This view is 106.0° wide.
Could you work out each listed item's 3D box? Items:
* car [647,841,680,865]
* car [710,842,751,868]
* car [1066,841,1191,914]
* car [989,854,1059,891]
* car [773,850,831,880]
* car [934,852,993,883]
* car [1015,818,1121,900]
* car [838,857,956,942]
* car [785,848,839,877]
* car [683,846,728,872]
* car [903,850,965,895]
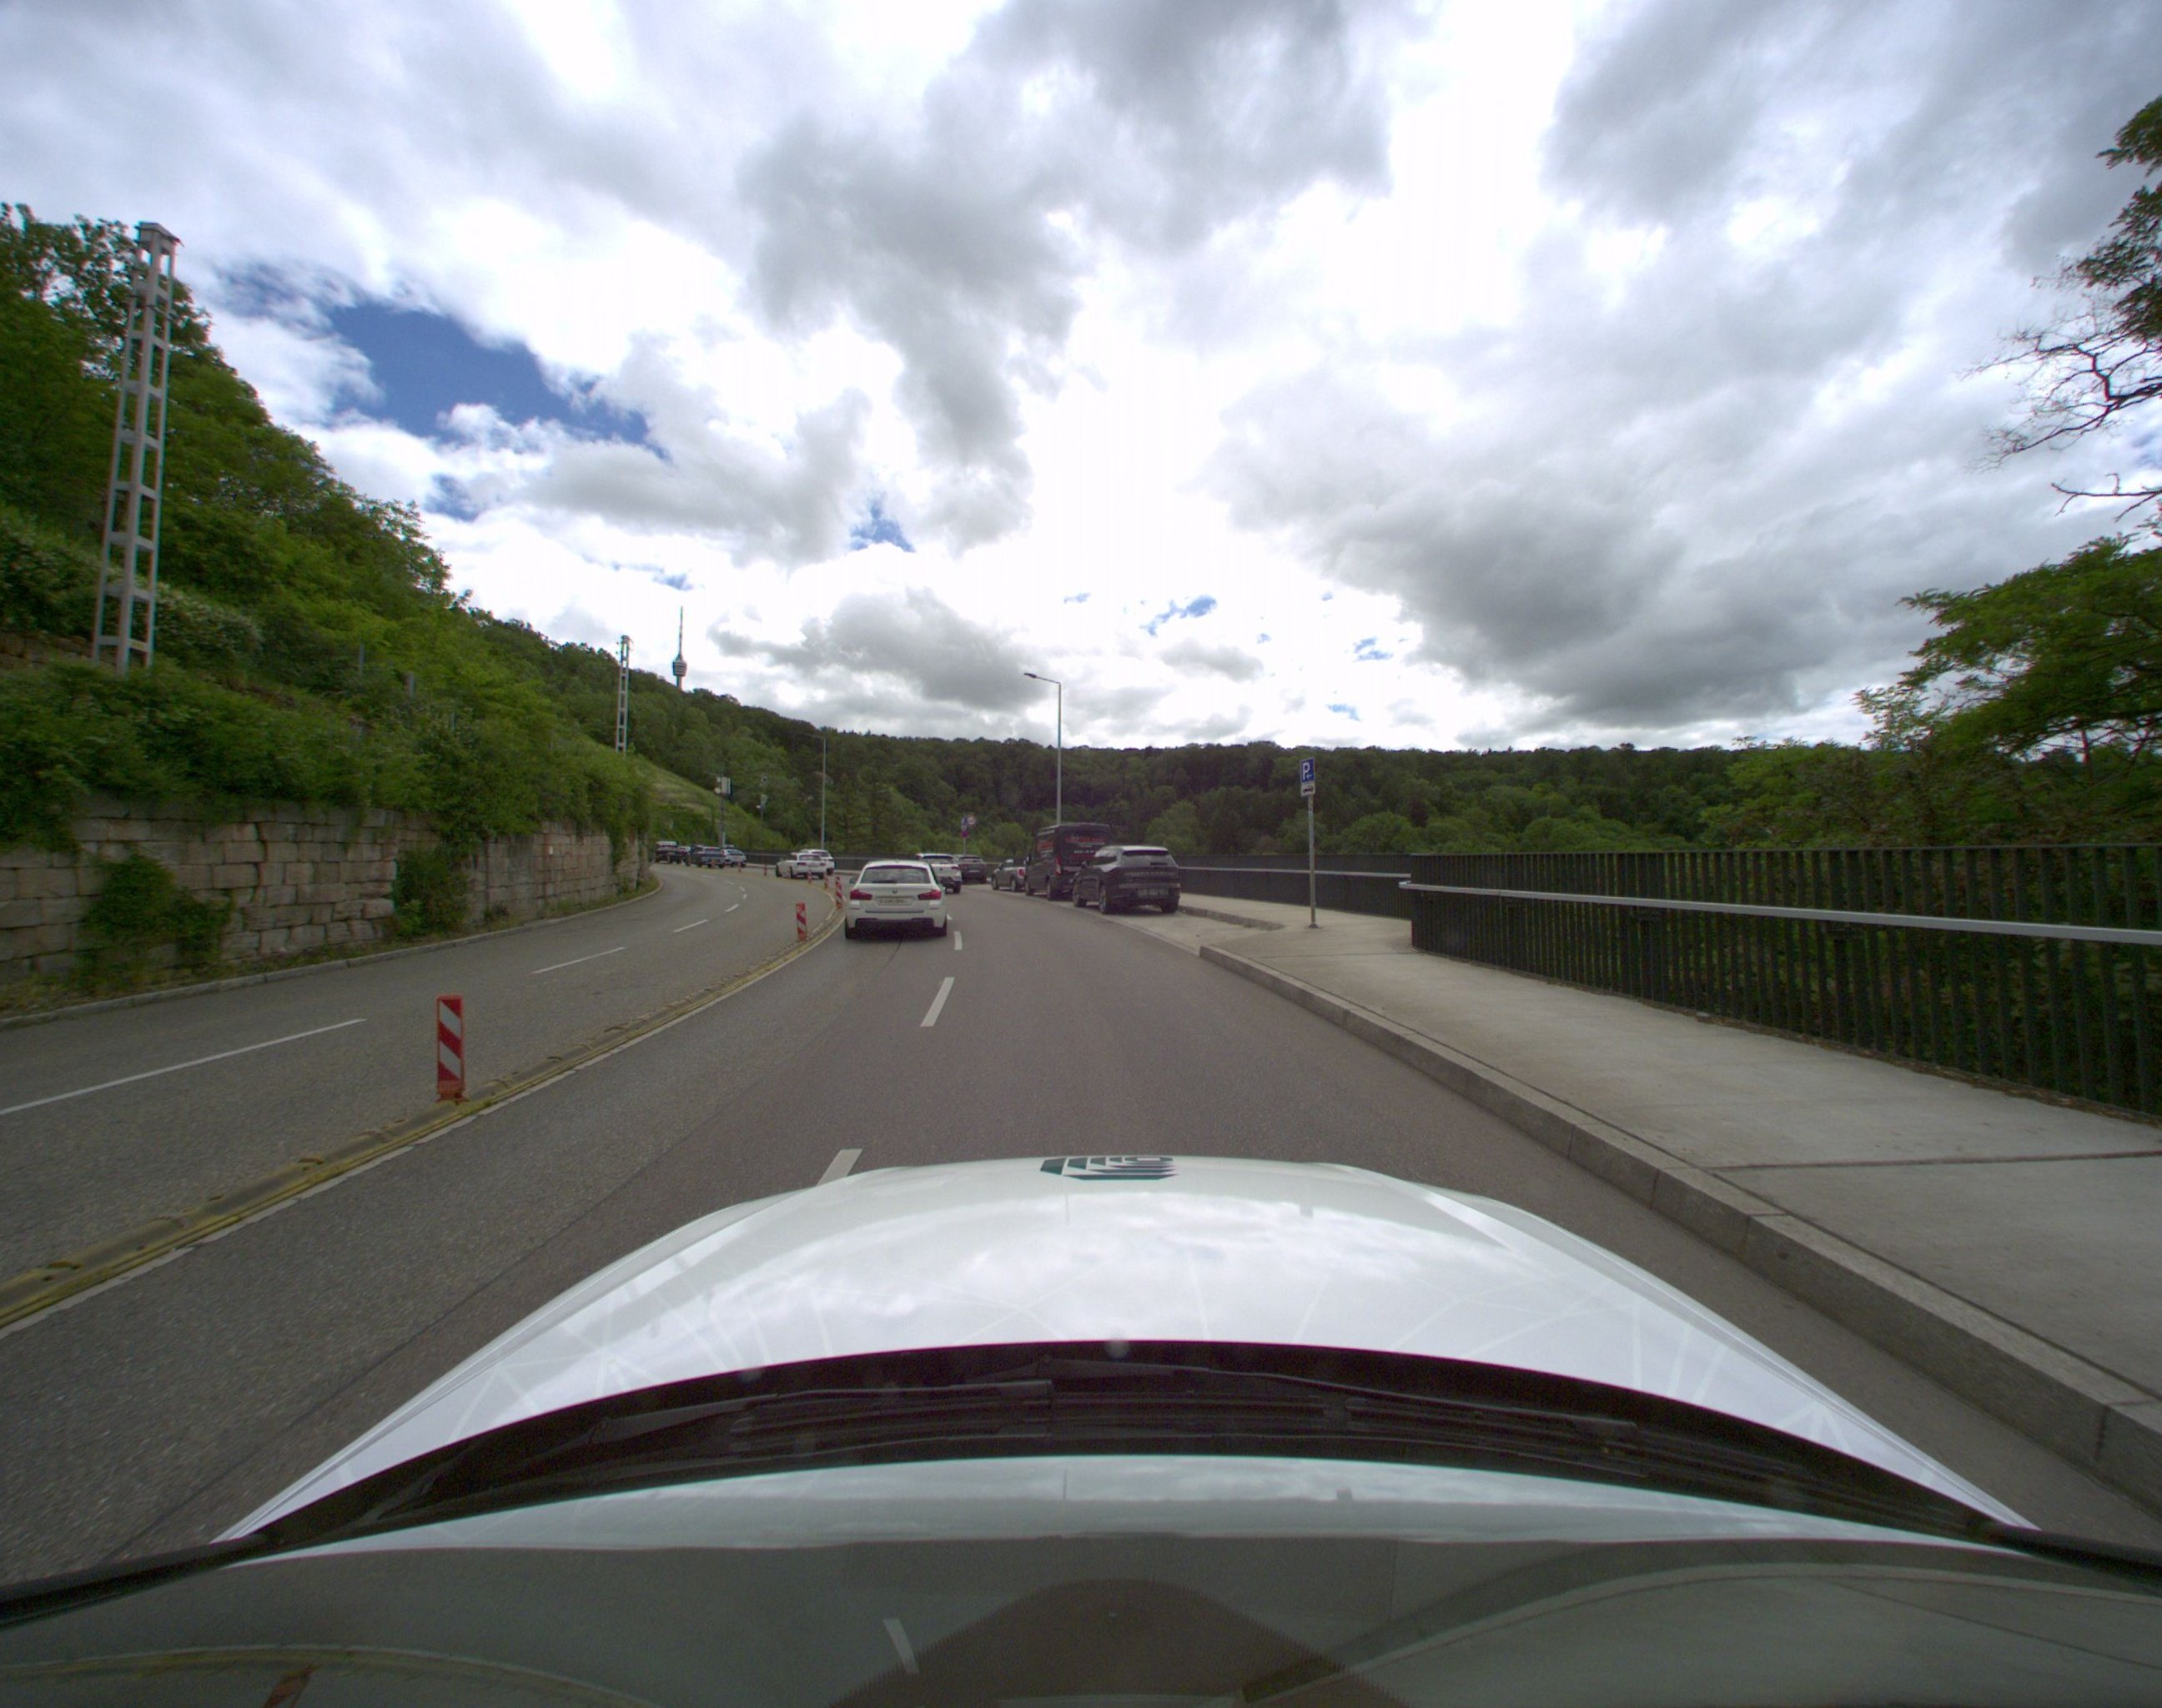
[{"bbox_3d":[-35.108,-0.077,68.430,1.884,1.762,3.955,2,-4,-36],"label":"car"},{"bbox_3d":[-27.848,0.112,64.710,2.010,2.014,3.954,-1,-1,-39],"label":"car"},{"bbox_3d":[1.131,0.592,22.302,1.997,1.718,5.024,-1,0,-14],"label":"car"},{"bbox_3d":[-2.466,0.731,34.196,1.722,1.431,3.819,0,0,-24],"label":"car"},{"bbox_3d":[-15.891,0.650,46.243,2.008,1.503,4.618,-2,-1,-33],"label":"car"},{"bbox_3d":[-6.218,0.674,42.802,1.885,1.543,4.054,1,-1,-27],"label":"car"},{"bbox_3d":[-0.612,0.141,28.707,2.172,2.521,5.737,-2,1,-17],"label":"car"},{"bbox_3d":[-3.559,0.806,16.535,1.826,1.459,4.476,-1,0,-6],"label":"car"},{"bbox_3d":[-17.478,0.550,52.798,2.010,1.718,4.066,-2,-1,-38],"label":"car"},{"bbox_3d":[-27.481,0.367,59.513,2.010,1.648,3.953,-2,-1,-40],"label":"car"},{"bbox_3d":[-5.942,0.743,32.664,1.833,1.606,3.974,-2,-1,-19],"label":"car"}]
